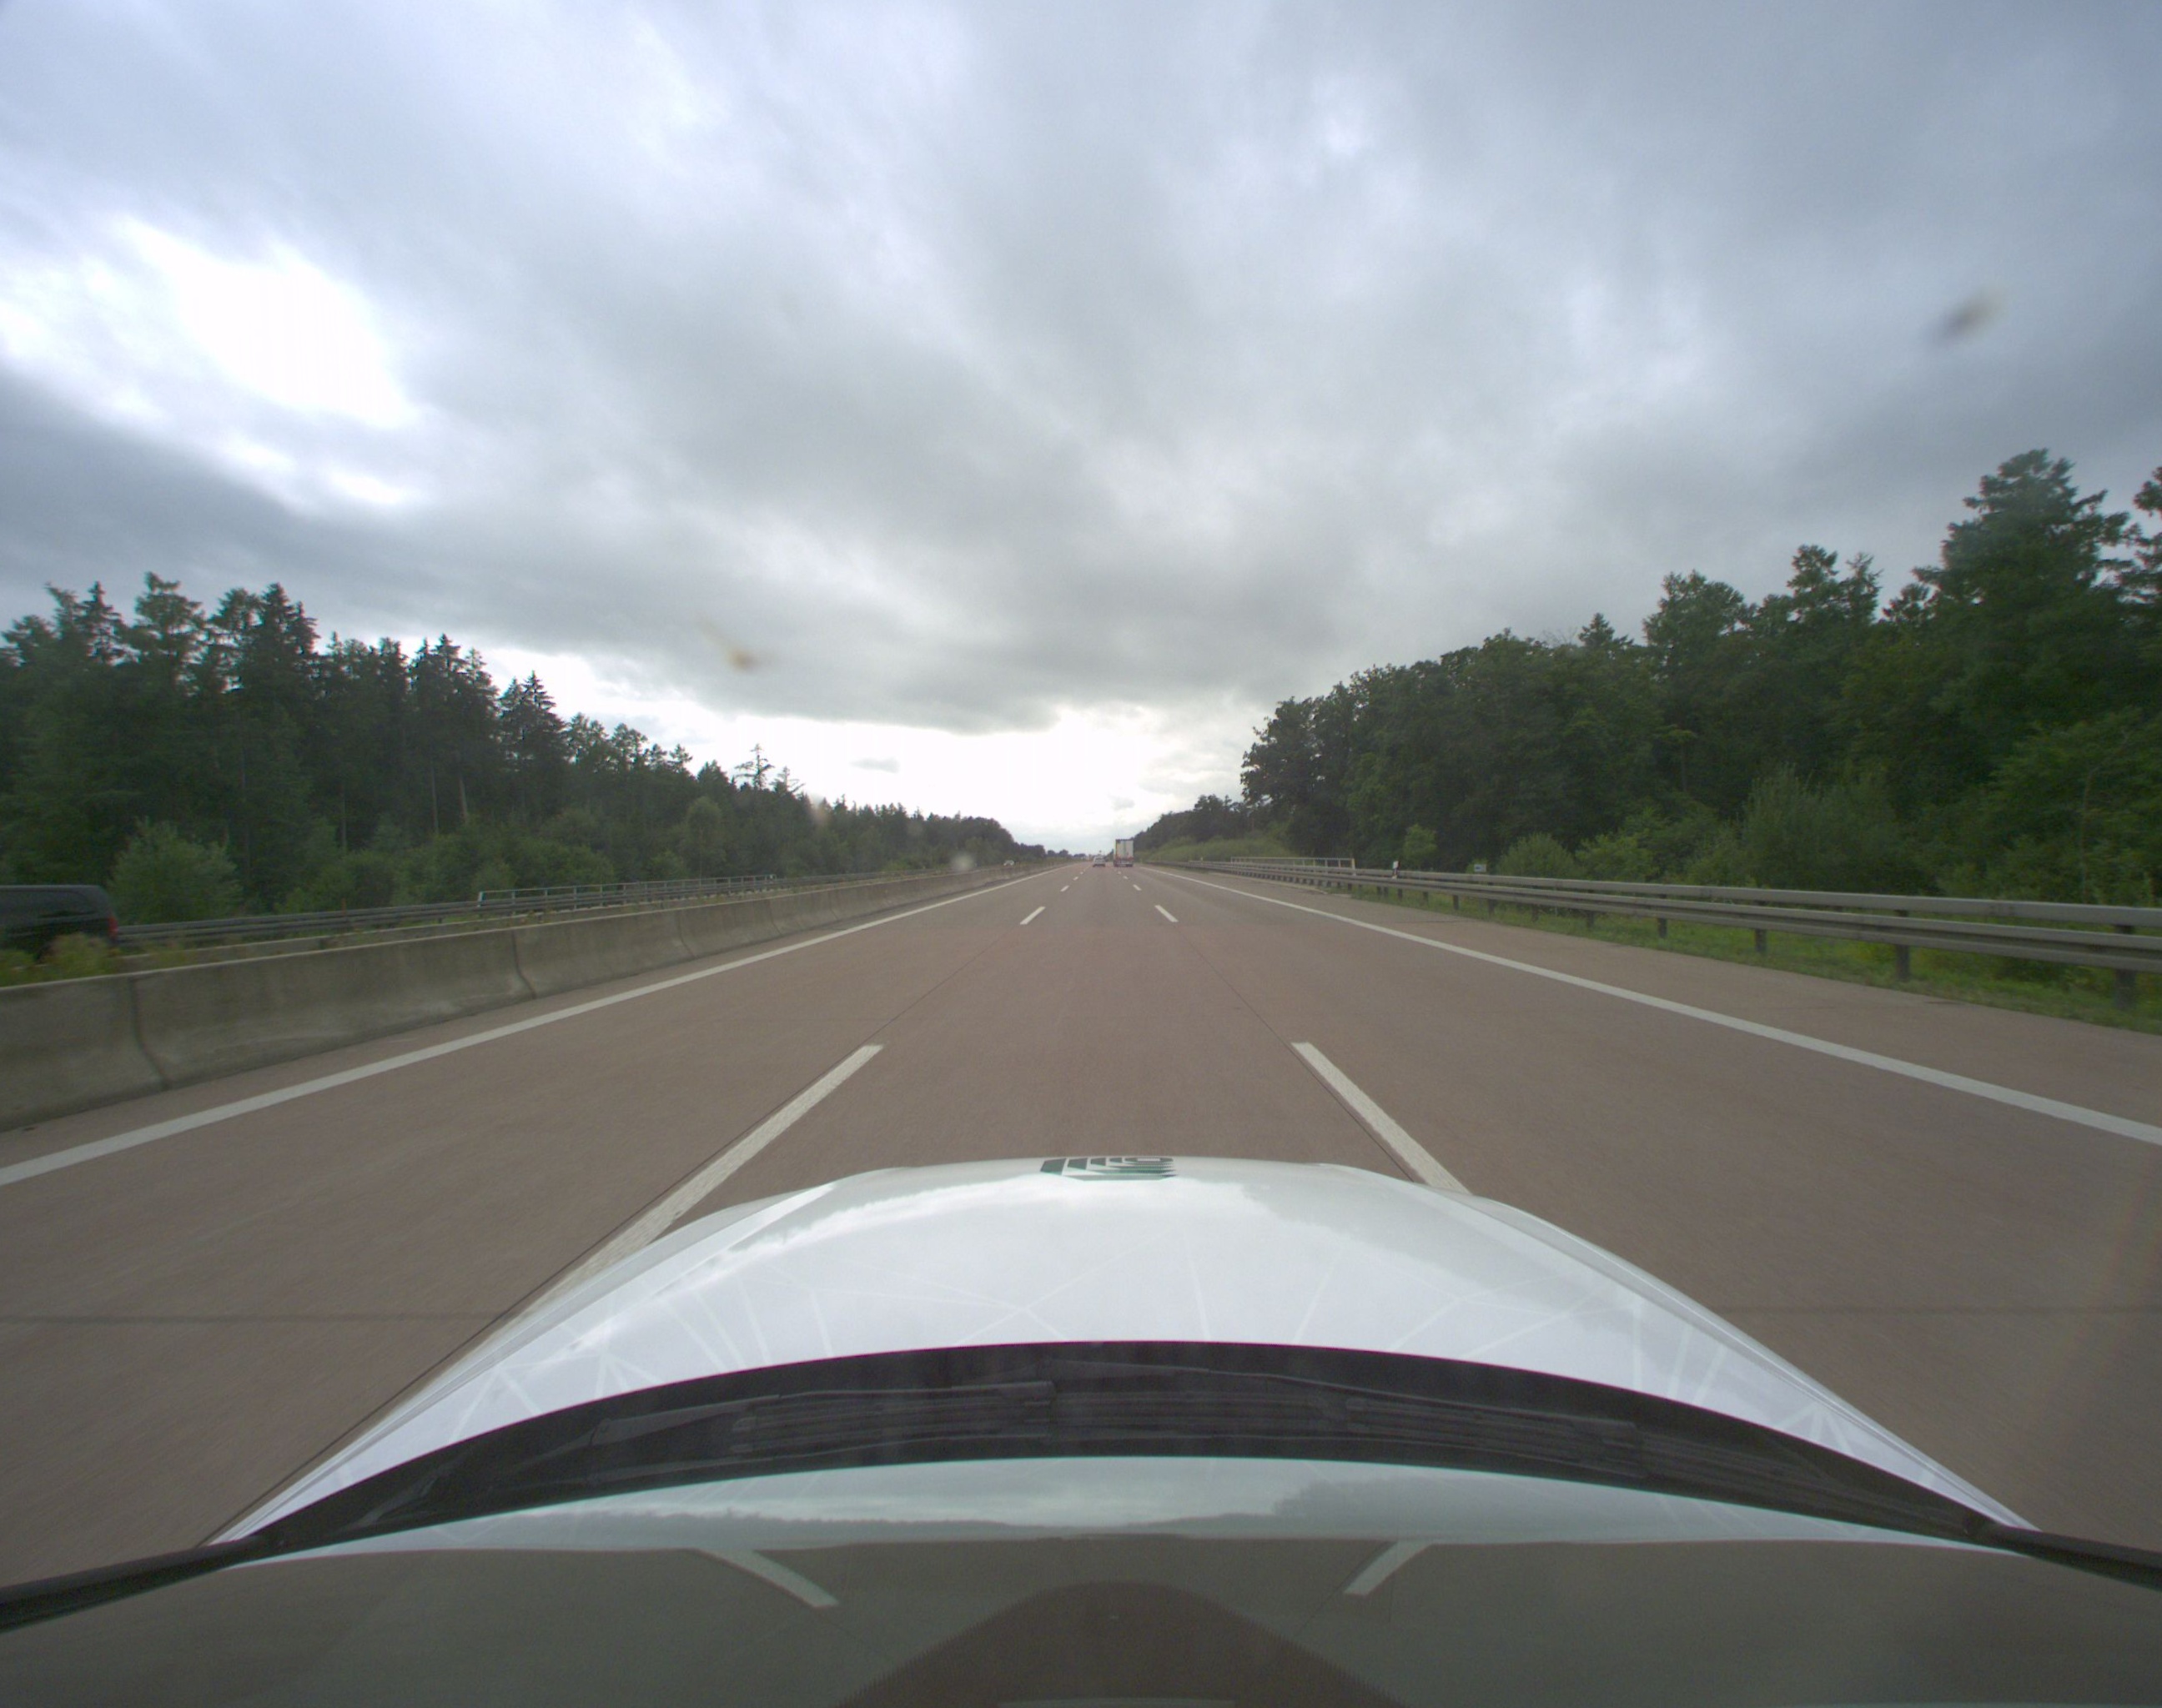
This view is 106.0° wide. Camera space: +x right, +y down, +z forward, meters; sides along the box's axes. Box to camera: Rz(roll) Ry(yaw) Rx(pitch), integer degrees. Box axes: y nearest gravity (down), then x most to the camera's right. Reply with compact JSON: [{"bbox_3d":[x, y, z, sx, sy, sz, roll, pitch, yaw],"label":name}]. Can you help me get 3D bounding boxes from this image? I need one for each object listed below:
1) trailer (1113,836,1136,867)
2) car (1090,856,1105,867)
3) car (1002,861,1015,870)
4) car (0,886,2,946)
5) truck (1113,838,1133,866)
[{"bbox_3d":[6.403,-0.288,121.521,2.911,4.294,13.615,-1,-1,1],"label":"trailer"},{"bbox_3d":[2.523,1.105,121.250,2.155,1.451,4.722,0,0,3],"label":"car"},{"bbox_3d":[-15.445,2.424,172.853,2.117,1.591,5.198,-2,0,1],"label":"car"},{"bbox_3d":[-19.507,1.518,11.145,2.245,2.013,5.273,1,0,4],"label":"car"},{"bbox_3d":[6.553,-0.245,128.991,2.911,4.294,5.335,-1,-1,1],"label":"truck"}]
